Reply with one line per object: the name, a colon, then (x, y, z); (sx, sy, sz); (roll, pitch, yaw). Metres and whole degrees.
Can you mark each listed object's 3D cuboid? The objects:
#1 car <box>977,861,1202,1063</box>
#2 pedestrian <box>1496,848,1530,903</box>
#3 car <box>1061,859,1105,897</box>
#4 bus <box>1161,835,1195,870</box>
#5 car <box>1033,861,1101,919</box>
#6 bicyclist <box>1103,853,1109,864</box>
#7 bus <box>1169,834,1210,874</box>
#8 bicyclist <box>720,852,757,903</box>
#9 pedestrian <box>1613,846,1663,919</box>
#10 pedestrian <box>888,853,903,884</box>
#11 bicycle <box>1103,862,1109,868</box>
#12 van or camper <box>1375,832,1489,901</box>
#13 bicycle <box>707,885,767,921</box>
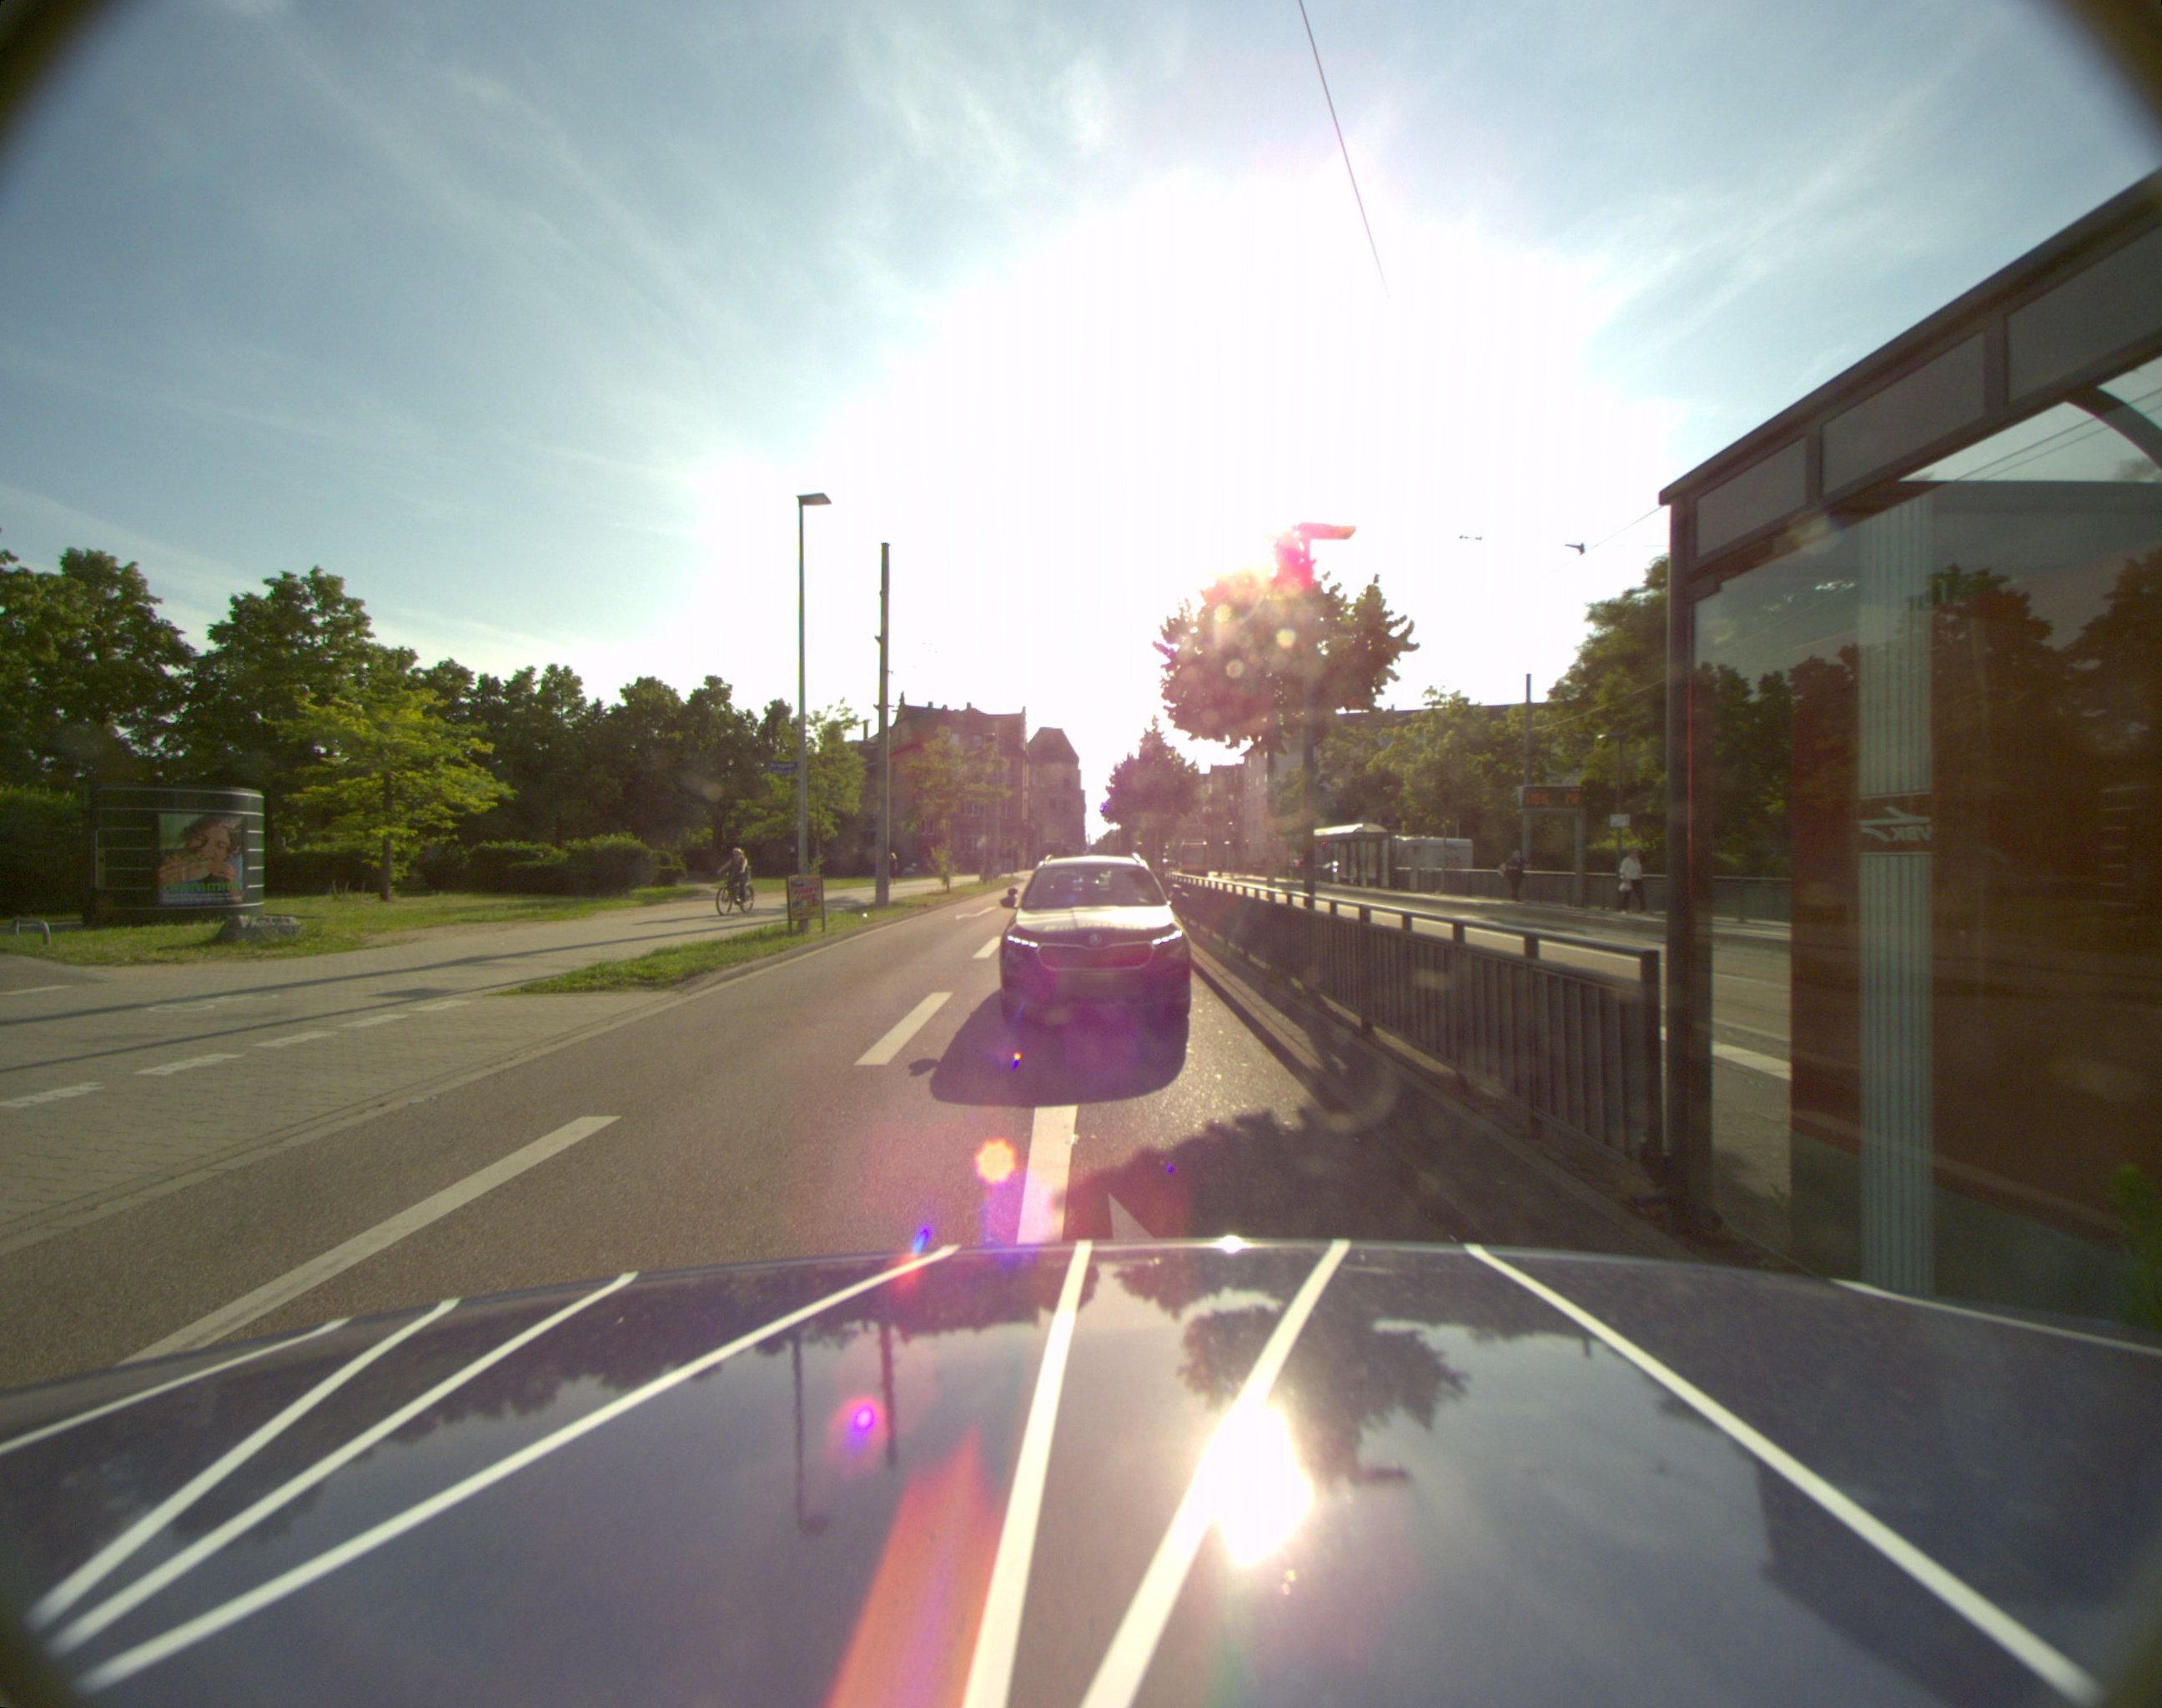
car: (0.092, 0.884, 8.186); (1.756, 1.534, 4.234); (-1, 0, 1)
pedestrian: (13.397, 0.657, 23.570); (0.621, 1.675, 0.618); (3, 1, 0)
car: (0.101, 1.006, 33.545); (1.756, 1.534, 4.234); (-1, 0, 1)
bus: (10.106, -0.192, 80.090); (2.437, 3.415, 9.260); (-2, 1, 1)
car: (-0.338, 0.967, 22.121); (1.756, 1.451, 4.234); (-1, 0, 1)
bicyclist: (3.367, 0.654, 102.756); (0.688, 1.445, 1.112); (0, 0, 12)
bus: (10.009, -0.078, 70.812); (2.437, 3.415, 9.260); (-2, 1, 1)
bicyclist: (-8.666, 0.574, 19.269); (0.535, 1.255, 0.869); (0, 1, 1)
pedestrian: (13.143, 0.660, 17.952); (0.621, 1.675, 0.618); (3, 1, 0)
pedestrian: (-9.890, 0.769, 40.558); (0.621, 1.675, 0.618); (-2, 1, 1)
bicycle: (3.379, 1.487, 102.804); (0.566, 0.789, 2.043); (0, 0, 12)
van or camper: (16.703, 0.510, 36.640); (2.527, 2.951, 6.410); (-2, 1, 1)
bicycle: (-8.644, 1.208, 19.187); (0.496, 0.753, 2.168); (1, 0, 1)
